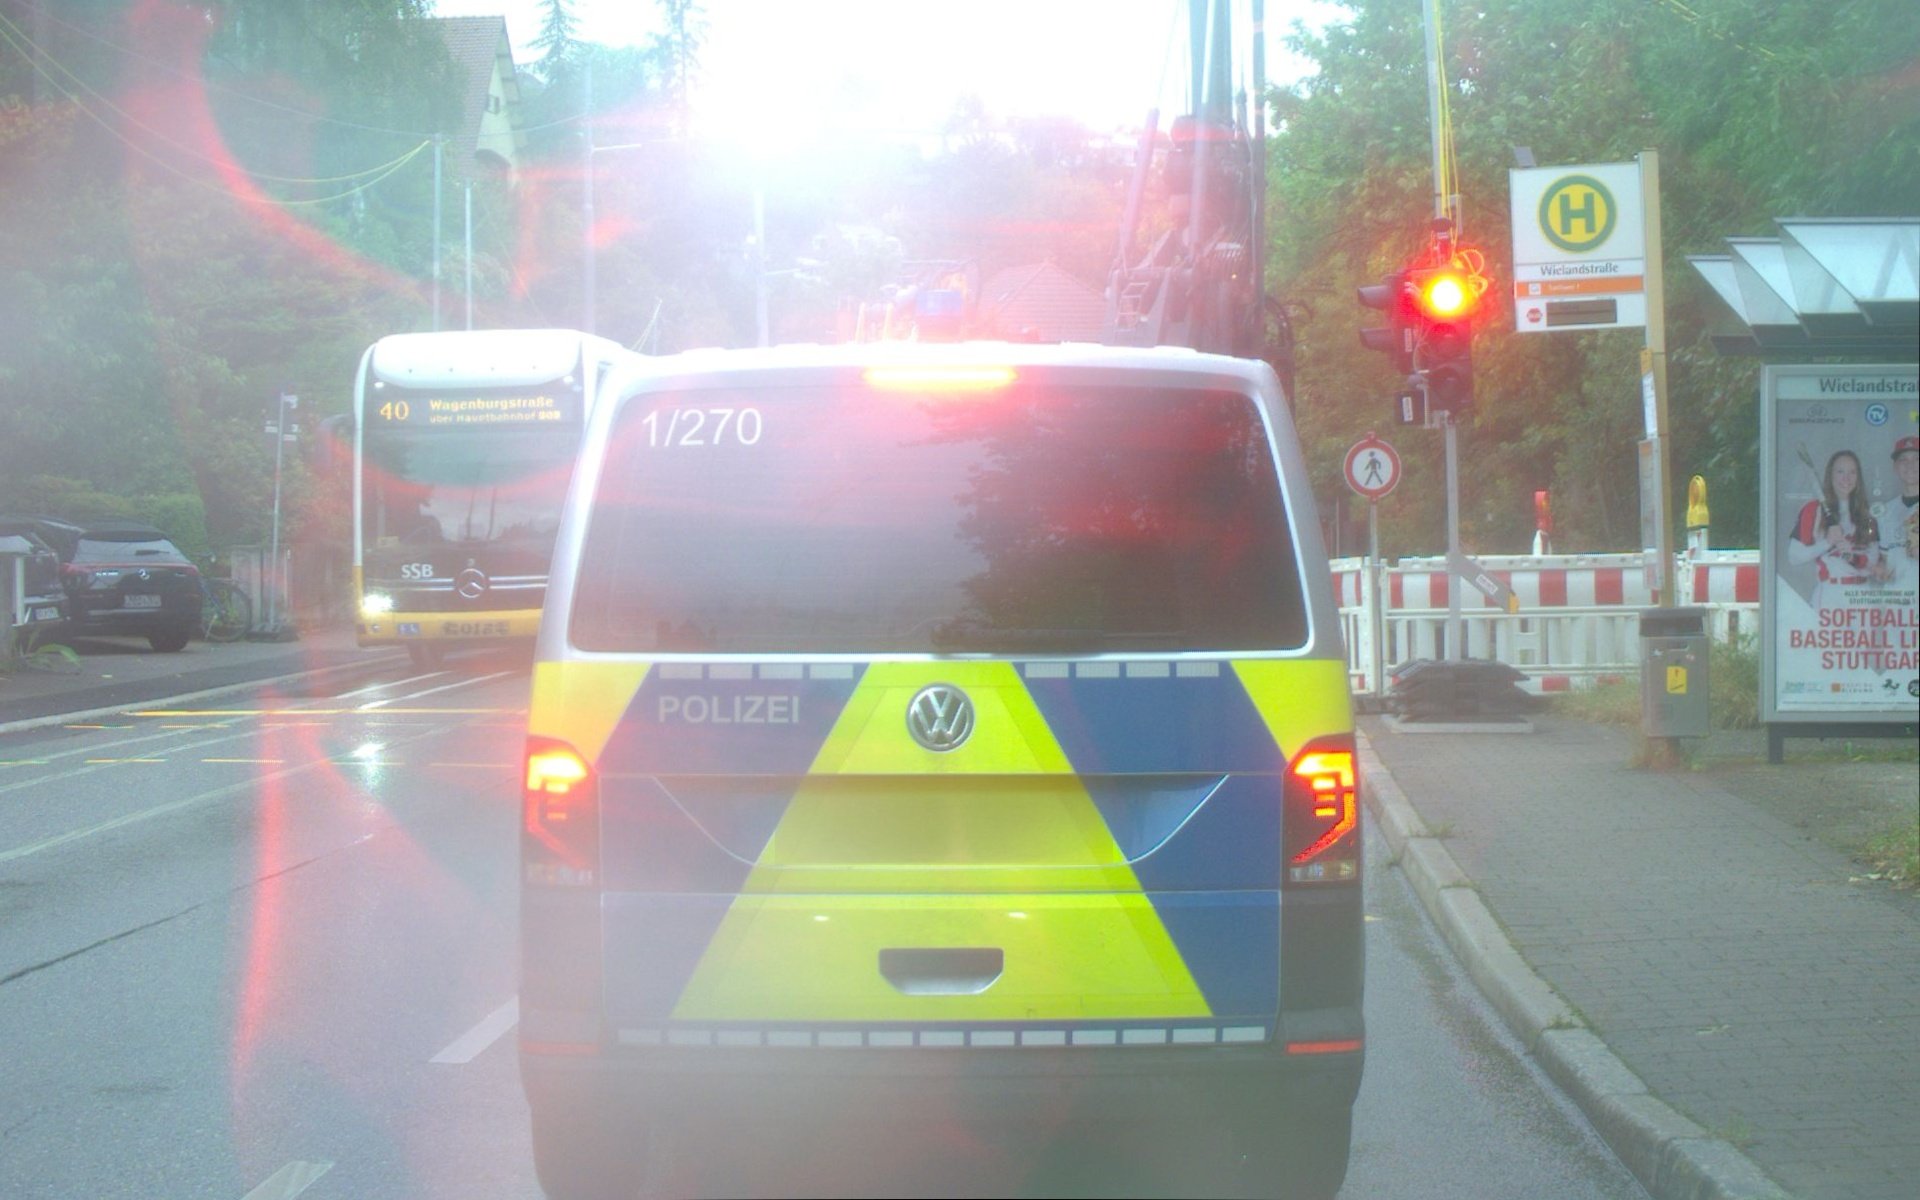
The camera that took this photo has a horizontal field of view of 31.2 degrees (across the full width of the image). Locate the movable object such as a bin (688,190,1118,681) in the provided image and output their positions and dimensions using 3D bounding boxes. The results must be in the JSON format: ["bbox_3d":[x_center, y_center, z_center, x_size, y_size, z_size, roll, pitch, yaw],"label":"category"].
[{"bbox_3d":[-0.415,-1.453,31.612,2.832,4.163,4.378,1,1,15],"label":"movable object such as a bin"}]

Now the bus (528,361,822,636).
[{"bbox_3d":[-4.028,-1.472,51.618,2.841,3.612,12.005,1,1,3],"label":"bus"}]

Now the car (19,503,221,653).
[{"bbox_3d":[-9.318,-0.271,37.956,1.765,1.481,3.743,1,3,-20],"label":"car"}]

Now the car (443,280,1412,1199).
[{"bbox_3d":[-0.089,0.361,8.812,1.893,2.043,4.000,1,1,-1],"label":"car"}]

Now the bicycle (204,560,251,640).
[{"bbox_3d":[-8.436,-0.012,39.573,0.462,0.894,1.634,0,1,-15],"label":"bicycle"}]

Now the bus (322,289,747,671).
[{"bbox_3d":[-4.541,-1.298,39.636,2.841,3.705,12.005,1,1,3],"label":"bus"}]
